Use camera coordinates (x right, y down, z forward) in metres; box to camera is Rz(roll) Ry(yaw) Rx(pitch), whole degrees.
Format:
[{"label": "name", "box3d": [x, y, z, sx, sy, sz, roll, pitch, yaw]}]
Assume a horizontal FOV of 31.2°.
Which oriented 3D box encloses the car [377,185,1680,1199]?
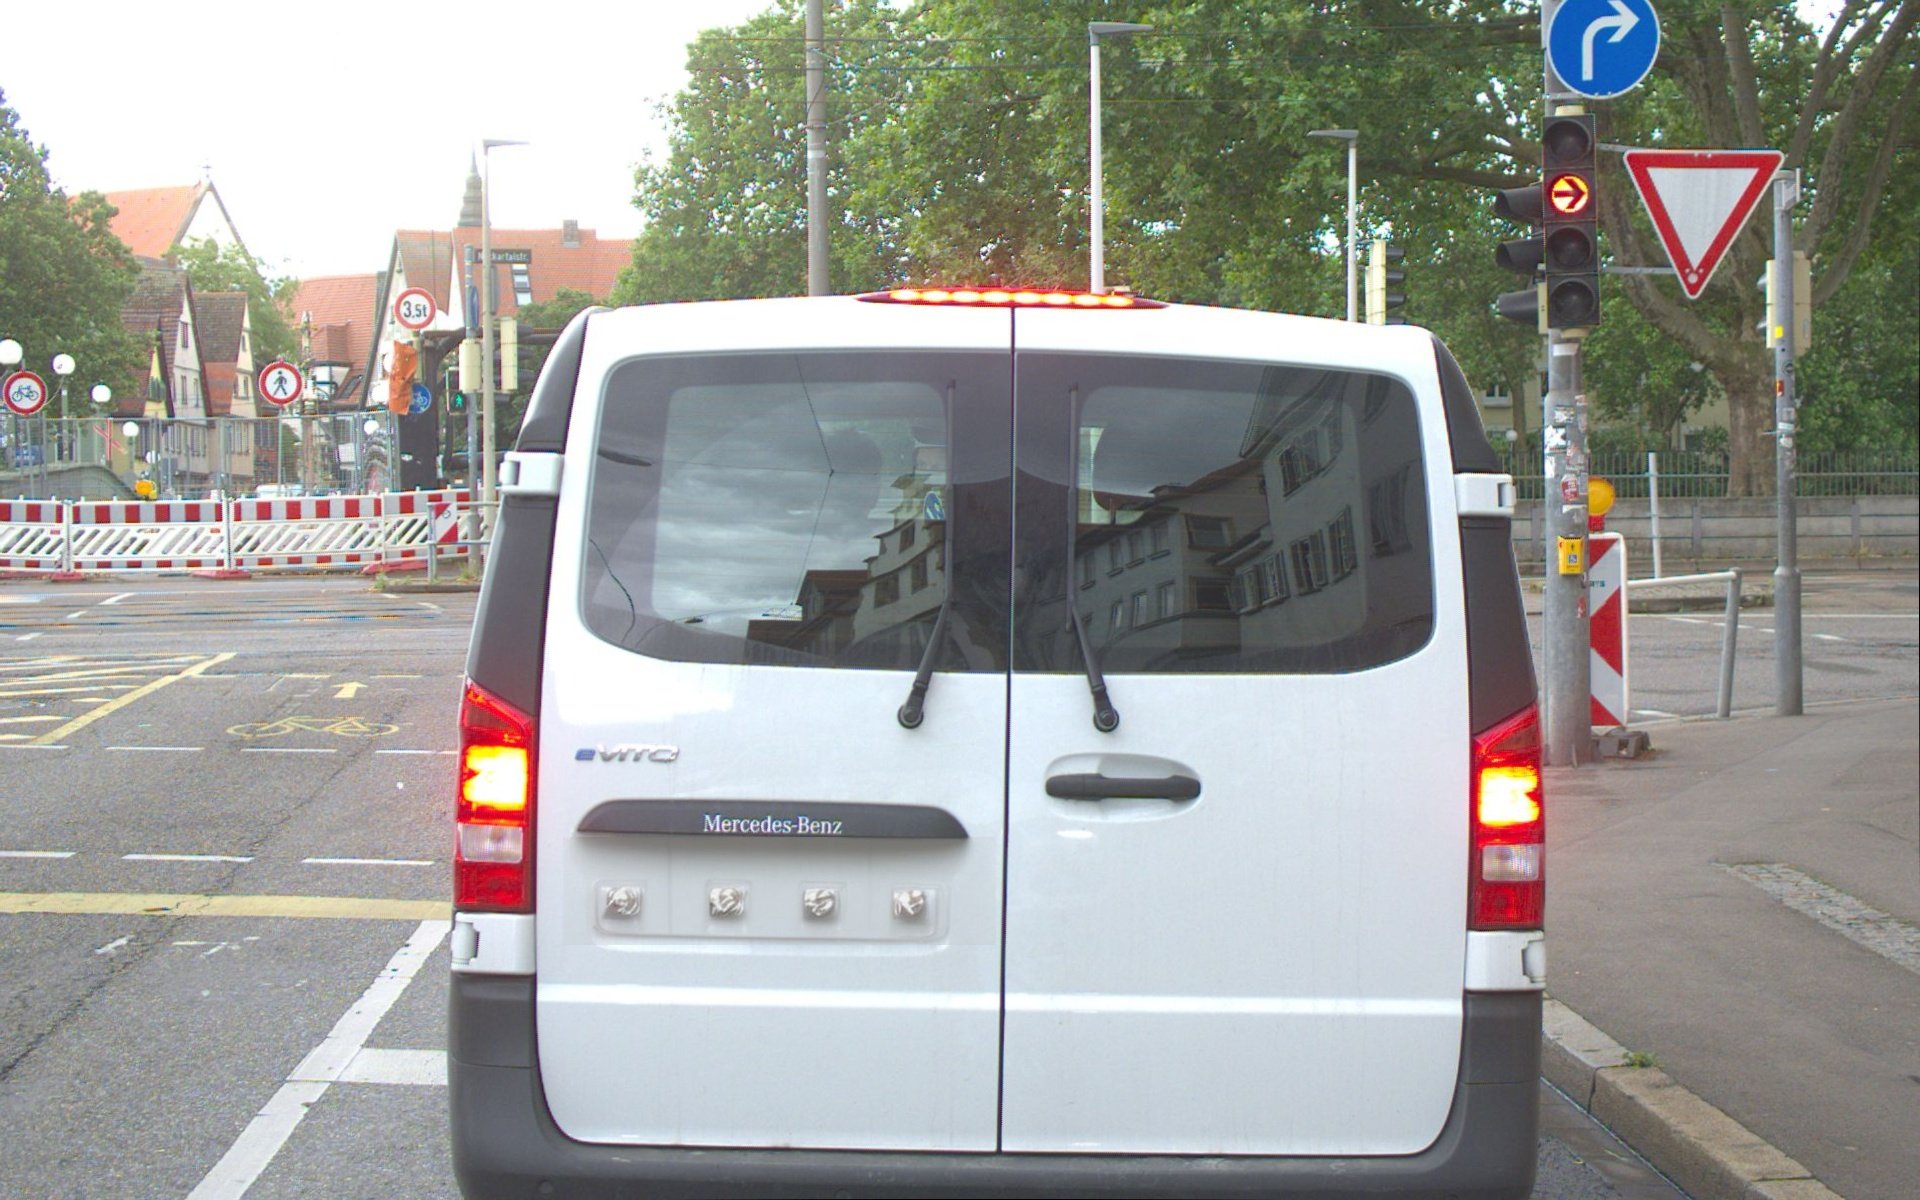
[{"label": "car", "box3d": [0.071, 0.293, 7.559, 1.951, 2.006, 4.699, 1, 2, -1]}]
